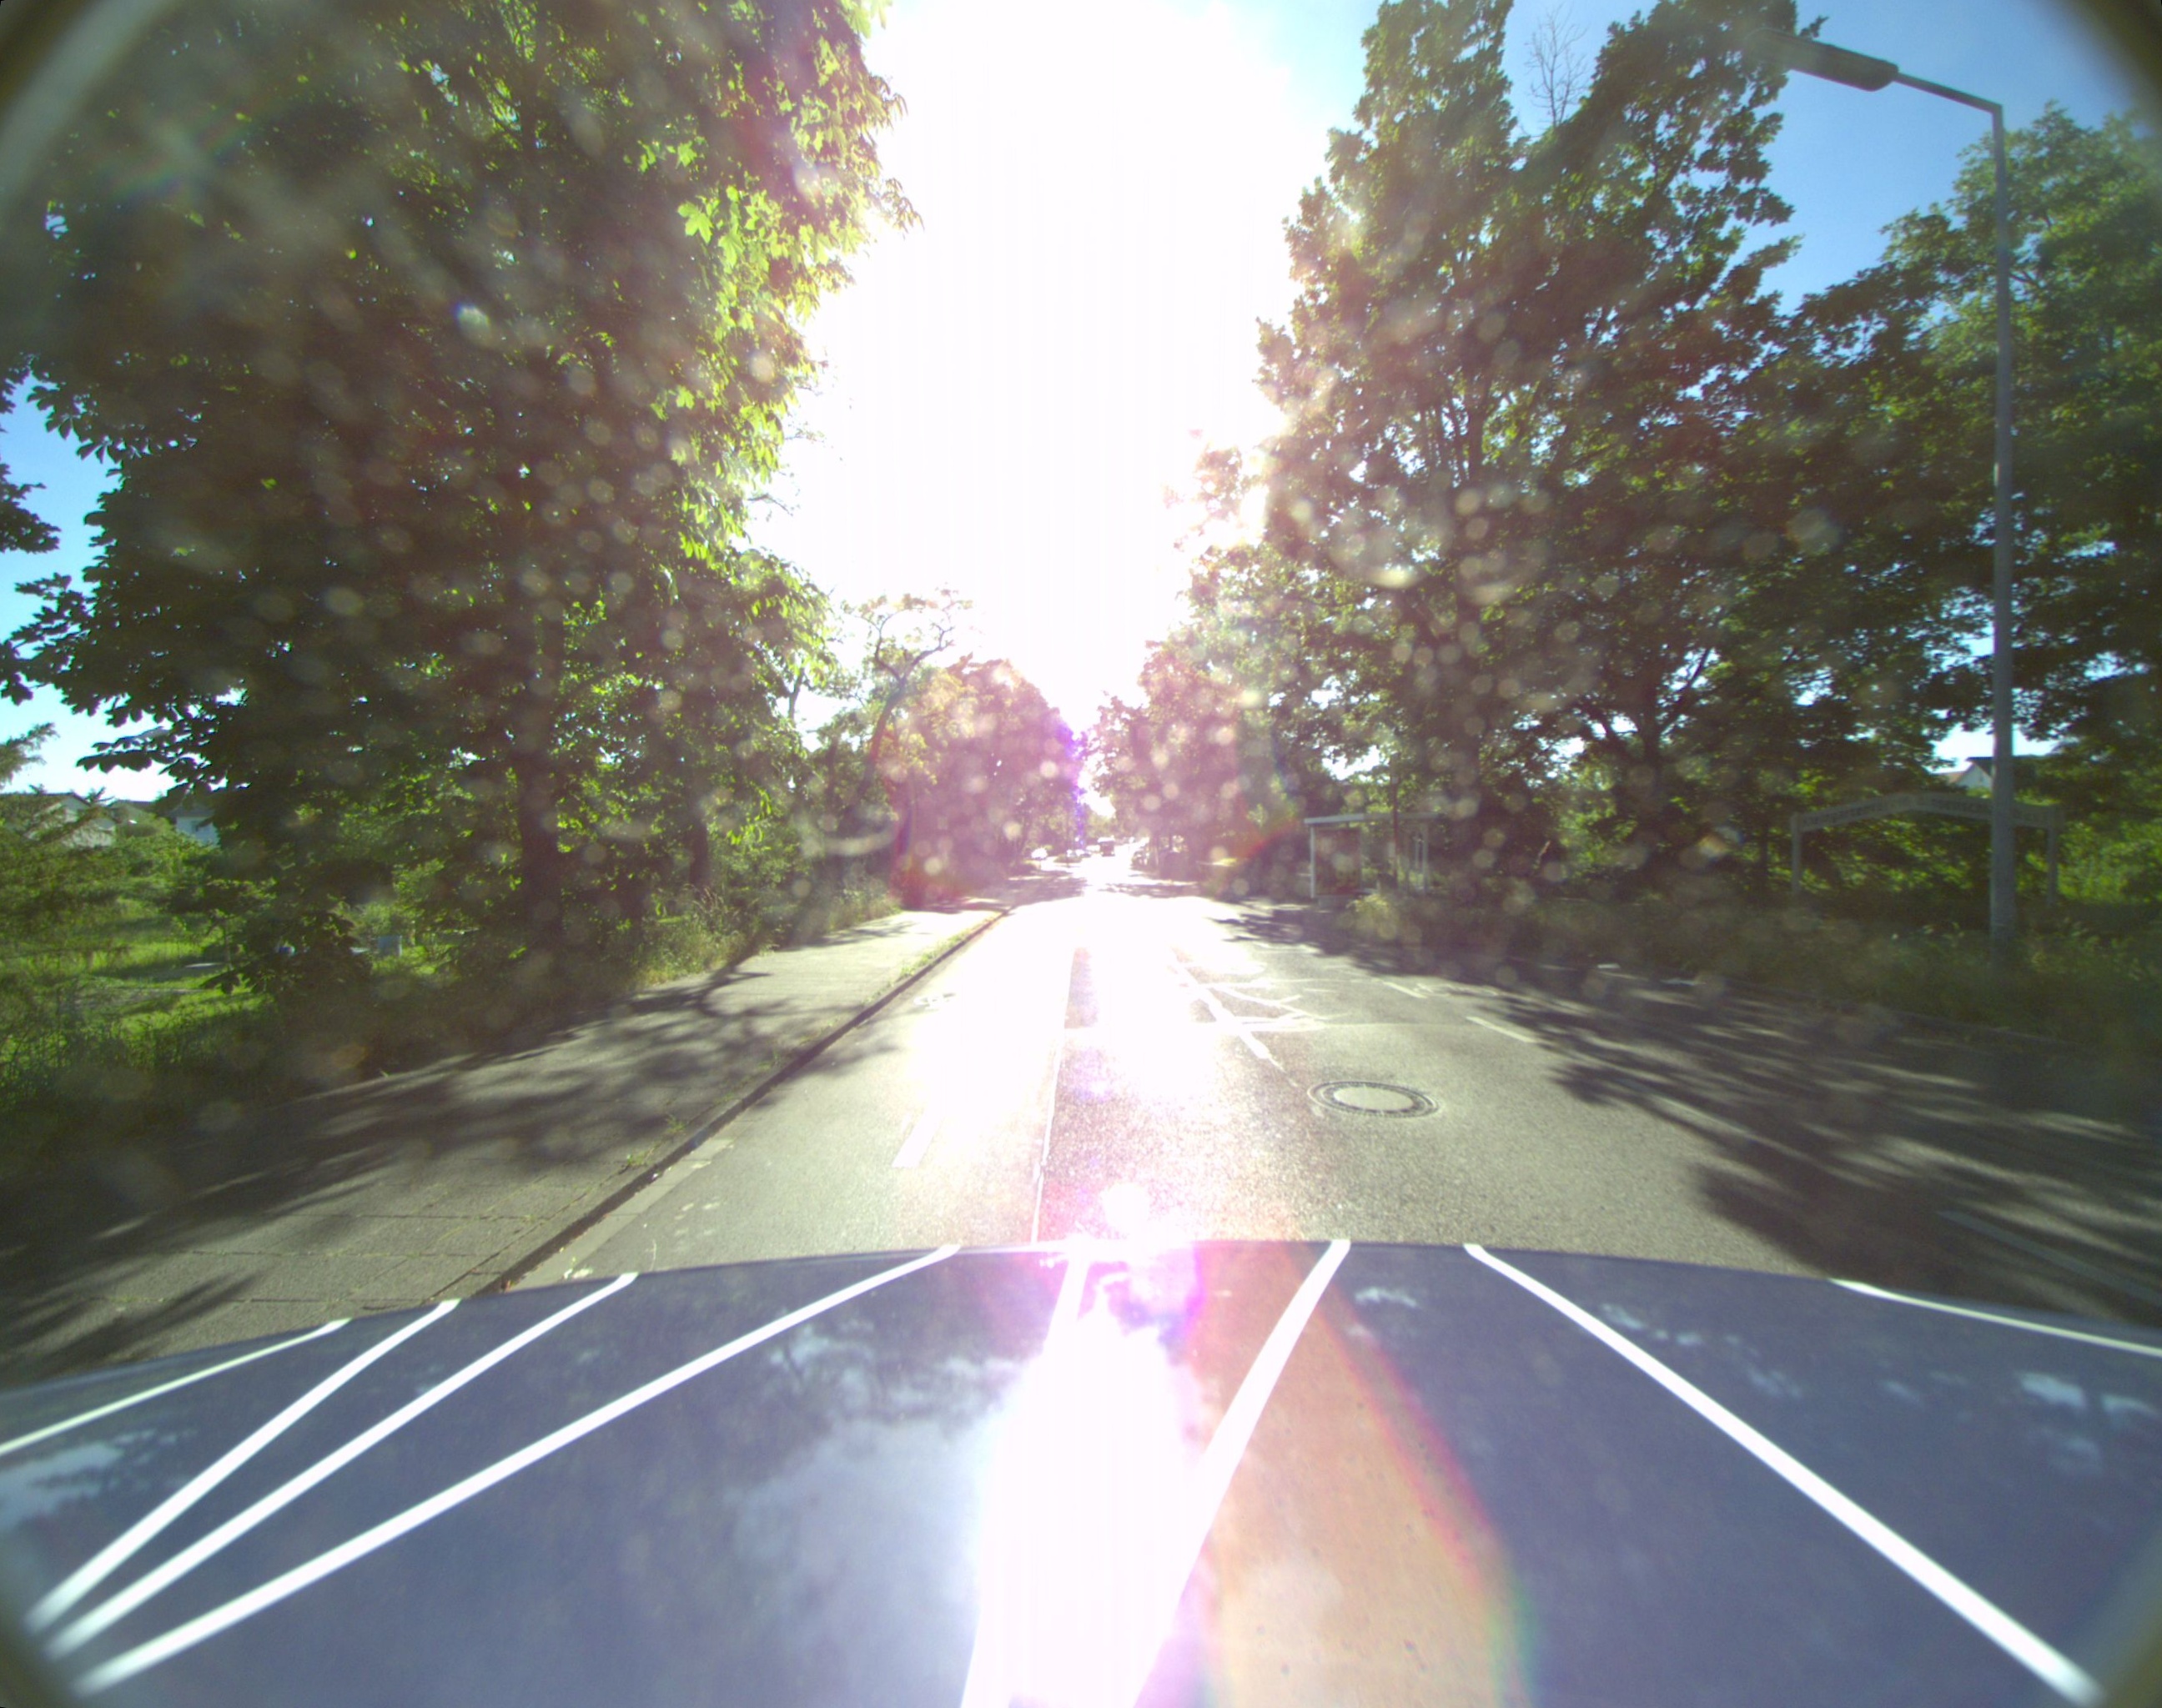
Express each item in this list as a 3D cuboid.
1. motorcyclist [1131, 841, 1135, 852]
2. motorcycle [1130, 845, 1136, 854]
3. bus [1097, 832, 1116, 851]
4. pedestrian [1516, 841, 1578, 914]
[{"bbox_3d":[9.749,-1.461,142.947,0.640,2.002,0.739,-3,2,-2],"label":"motorcyclist"},{"bbox_3d":[9.773,-0.881,142.810,0.815,1.624,2.411,-3,1,-2],"label":"motorcycle"},{"bbox_3d":[4.493,-2.118,135.335,2.790,2.965,12.893,-2,0,-1],"label":"bus"},{"bbox_3d":[11.111,0.551,18.150,0.915,1.678,0.891,-2,0,2],"label":"pedestrian"}]
